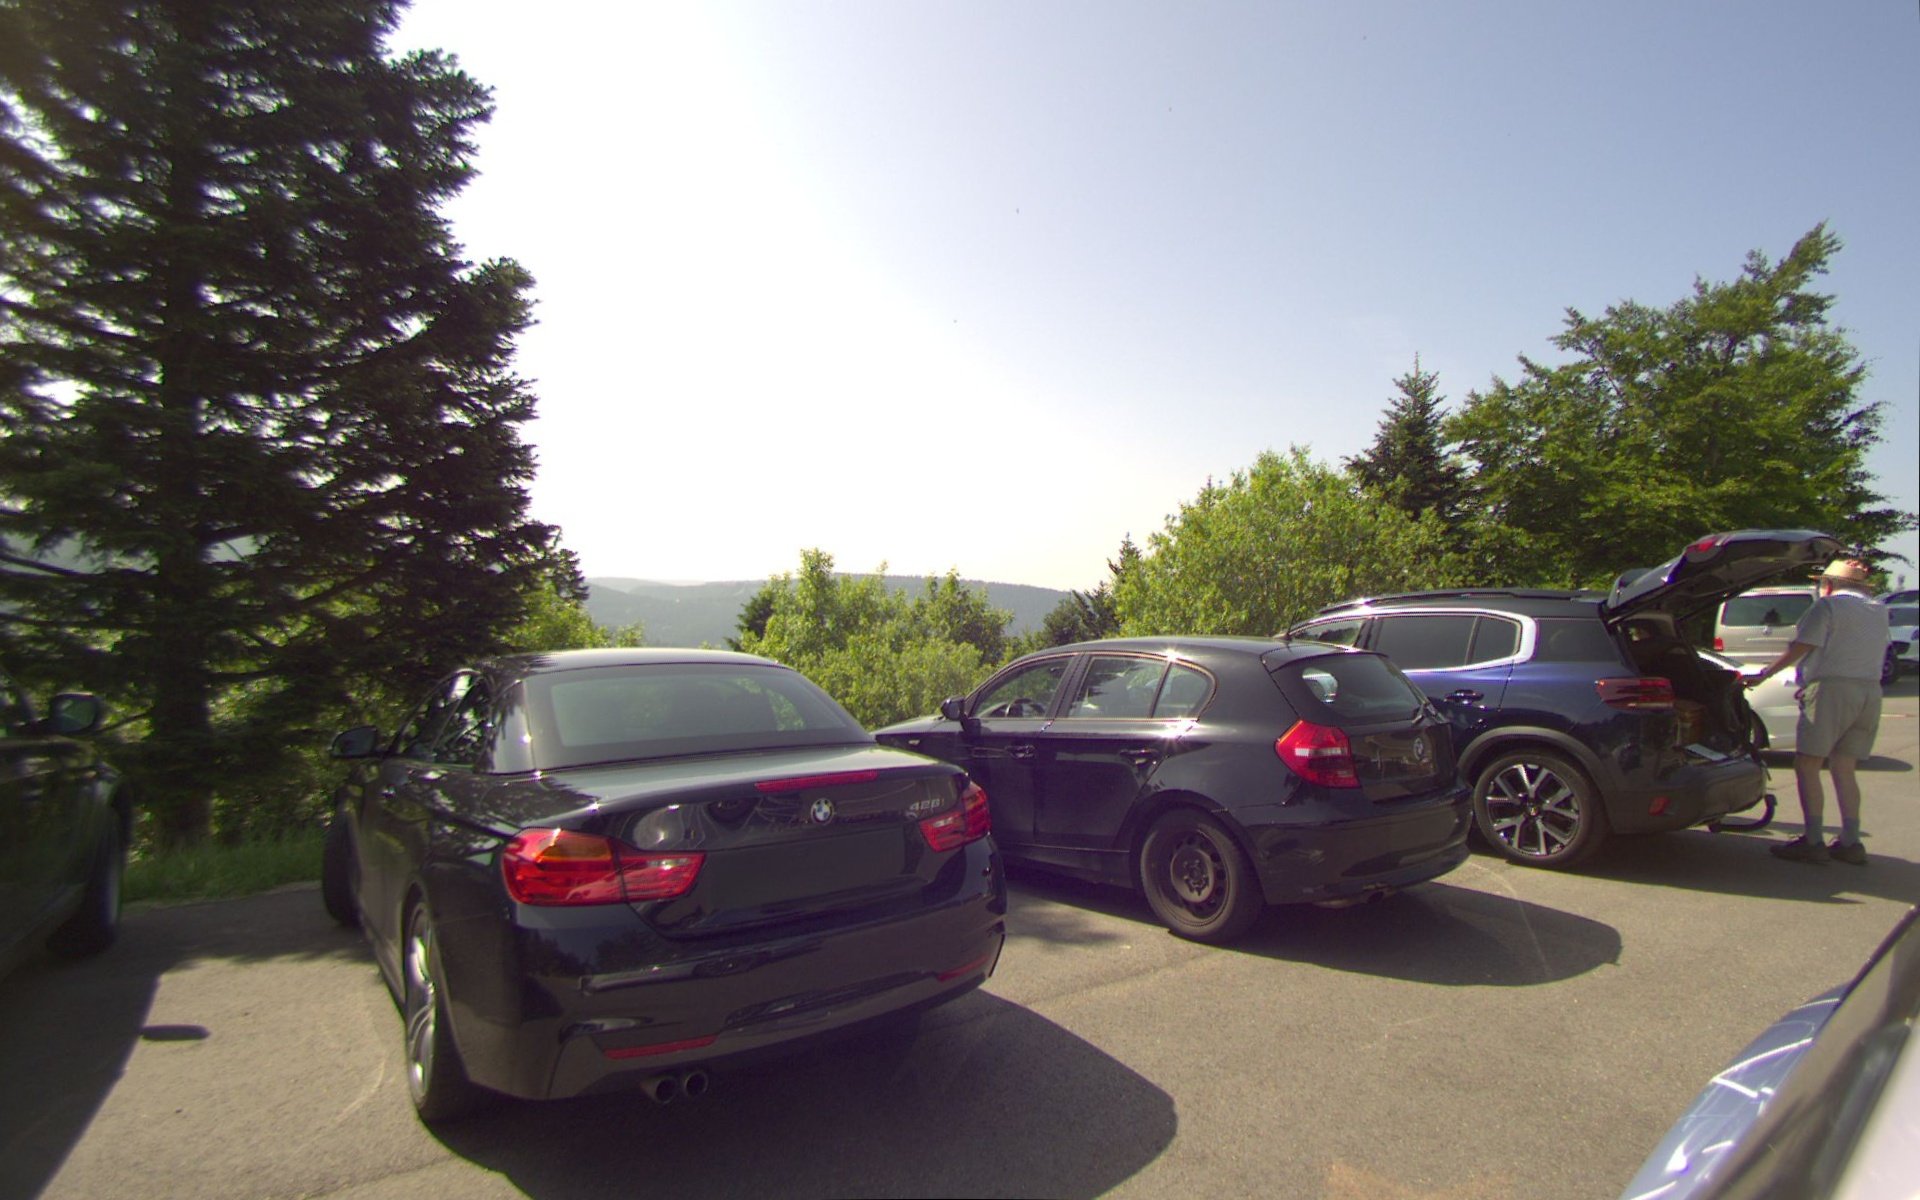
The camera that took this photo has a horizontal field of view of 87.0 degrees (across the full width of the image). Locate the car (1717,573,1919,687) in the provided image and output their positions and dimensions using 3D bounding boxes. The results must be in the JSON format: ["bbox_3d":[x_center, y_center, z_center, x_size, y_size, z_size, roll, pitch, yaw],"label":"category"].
[{"bbox_3d":[16.627,0.553,19.513,4.522,1.961,1.862,0,-3,-35],"label":"car"}]

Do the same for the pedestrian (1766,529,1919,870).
[{"bbox_3d":[5.379,0.566,6.080,0.732,1.896,0.748,-1,-4,34],"label":"pedestrian"}]

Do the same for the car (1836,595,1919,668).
[{"bbox_3d":[21.719,0.677,23.130,3.928,1.567,1.874,0,-2,-39],"label":"car"}]

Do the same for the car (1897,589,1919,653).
[{"bbox_3d":[26.385,0.505,26.681,3.928,1.639,1.874,0,-2,-39],"label":"car"}]

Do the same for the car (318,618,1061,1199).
[{"bbox_3d":[-1.587,0.841,4.354,1.671,1.394,4.091,0,-2,-37],"label":"car"}]

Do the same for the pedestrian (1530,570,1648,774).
[{"bbox_3d":[5.956,0.652,9.586,0.736,1.823,0.734,-1,-2,-44],"label":"pedestrian"}]

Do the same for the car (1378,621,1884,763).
[{"bbox_3d":[7.232,0.976,11.376,4.382,1.313,1.733,-3,-3,35],"label":"car"}]

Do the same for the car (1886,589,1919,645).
[{"bbox_3d":[29.892,0.436,29.445,3.969,1.639,1.854,-3,-2,33],"label":"car"}]

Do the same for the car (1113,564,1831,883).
[{"bbox_3d":[3.379,0.748,7.553,1.835,1.647,4.354,-1,-3,-36],"label":"car"}]

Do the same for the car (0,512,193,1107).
[{"bbox_3d":[-3.837,0.609,2.887,1.906,1.717,4.971,0,0,-29],"label":"car"}]

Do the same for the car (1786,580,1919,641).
[{"bbox_3d":[31.920,0.372,35.371,4.426,1.950,1.854,-3,-2,33],"label":"car"}]

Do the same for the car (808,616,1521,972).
[{"bbox_3d":[0.878,0.861,6.170,1.672,1.394,4.088,0,-2,-40],"label":"car"}]

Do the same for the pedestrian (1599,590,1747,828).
[{"bbox_3d":[5.230,0.763,7.435,0.527,1.634,0.715,-1,-2,-40],"label":"pedestrian"}]
